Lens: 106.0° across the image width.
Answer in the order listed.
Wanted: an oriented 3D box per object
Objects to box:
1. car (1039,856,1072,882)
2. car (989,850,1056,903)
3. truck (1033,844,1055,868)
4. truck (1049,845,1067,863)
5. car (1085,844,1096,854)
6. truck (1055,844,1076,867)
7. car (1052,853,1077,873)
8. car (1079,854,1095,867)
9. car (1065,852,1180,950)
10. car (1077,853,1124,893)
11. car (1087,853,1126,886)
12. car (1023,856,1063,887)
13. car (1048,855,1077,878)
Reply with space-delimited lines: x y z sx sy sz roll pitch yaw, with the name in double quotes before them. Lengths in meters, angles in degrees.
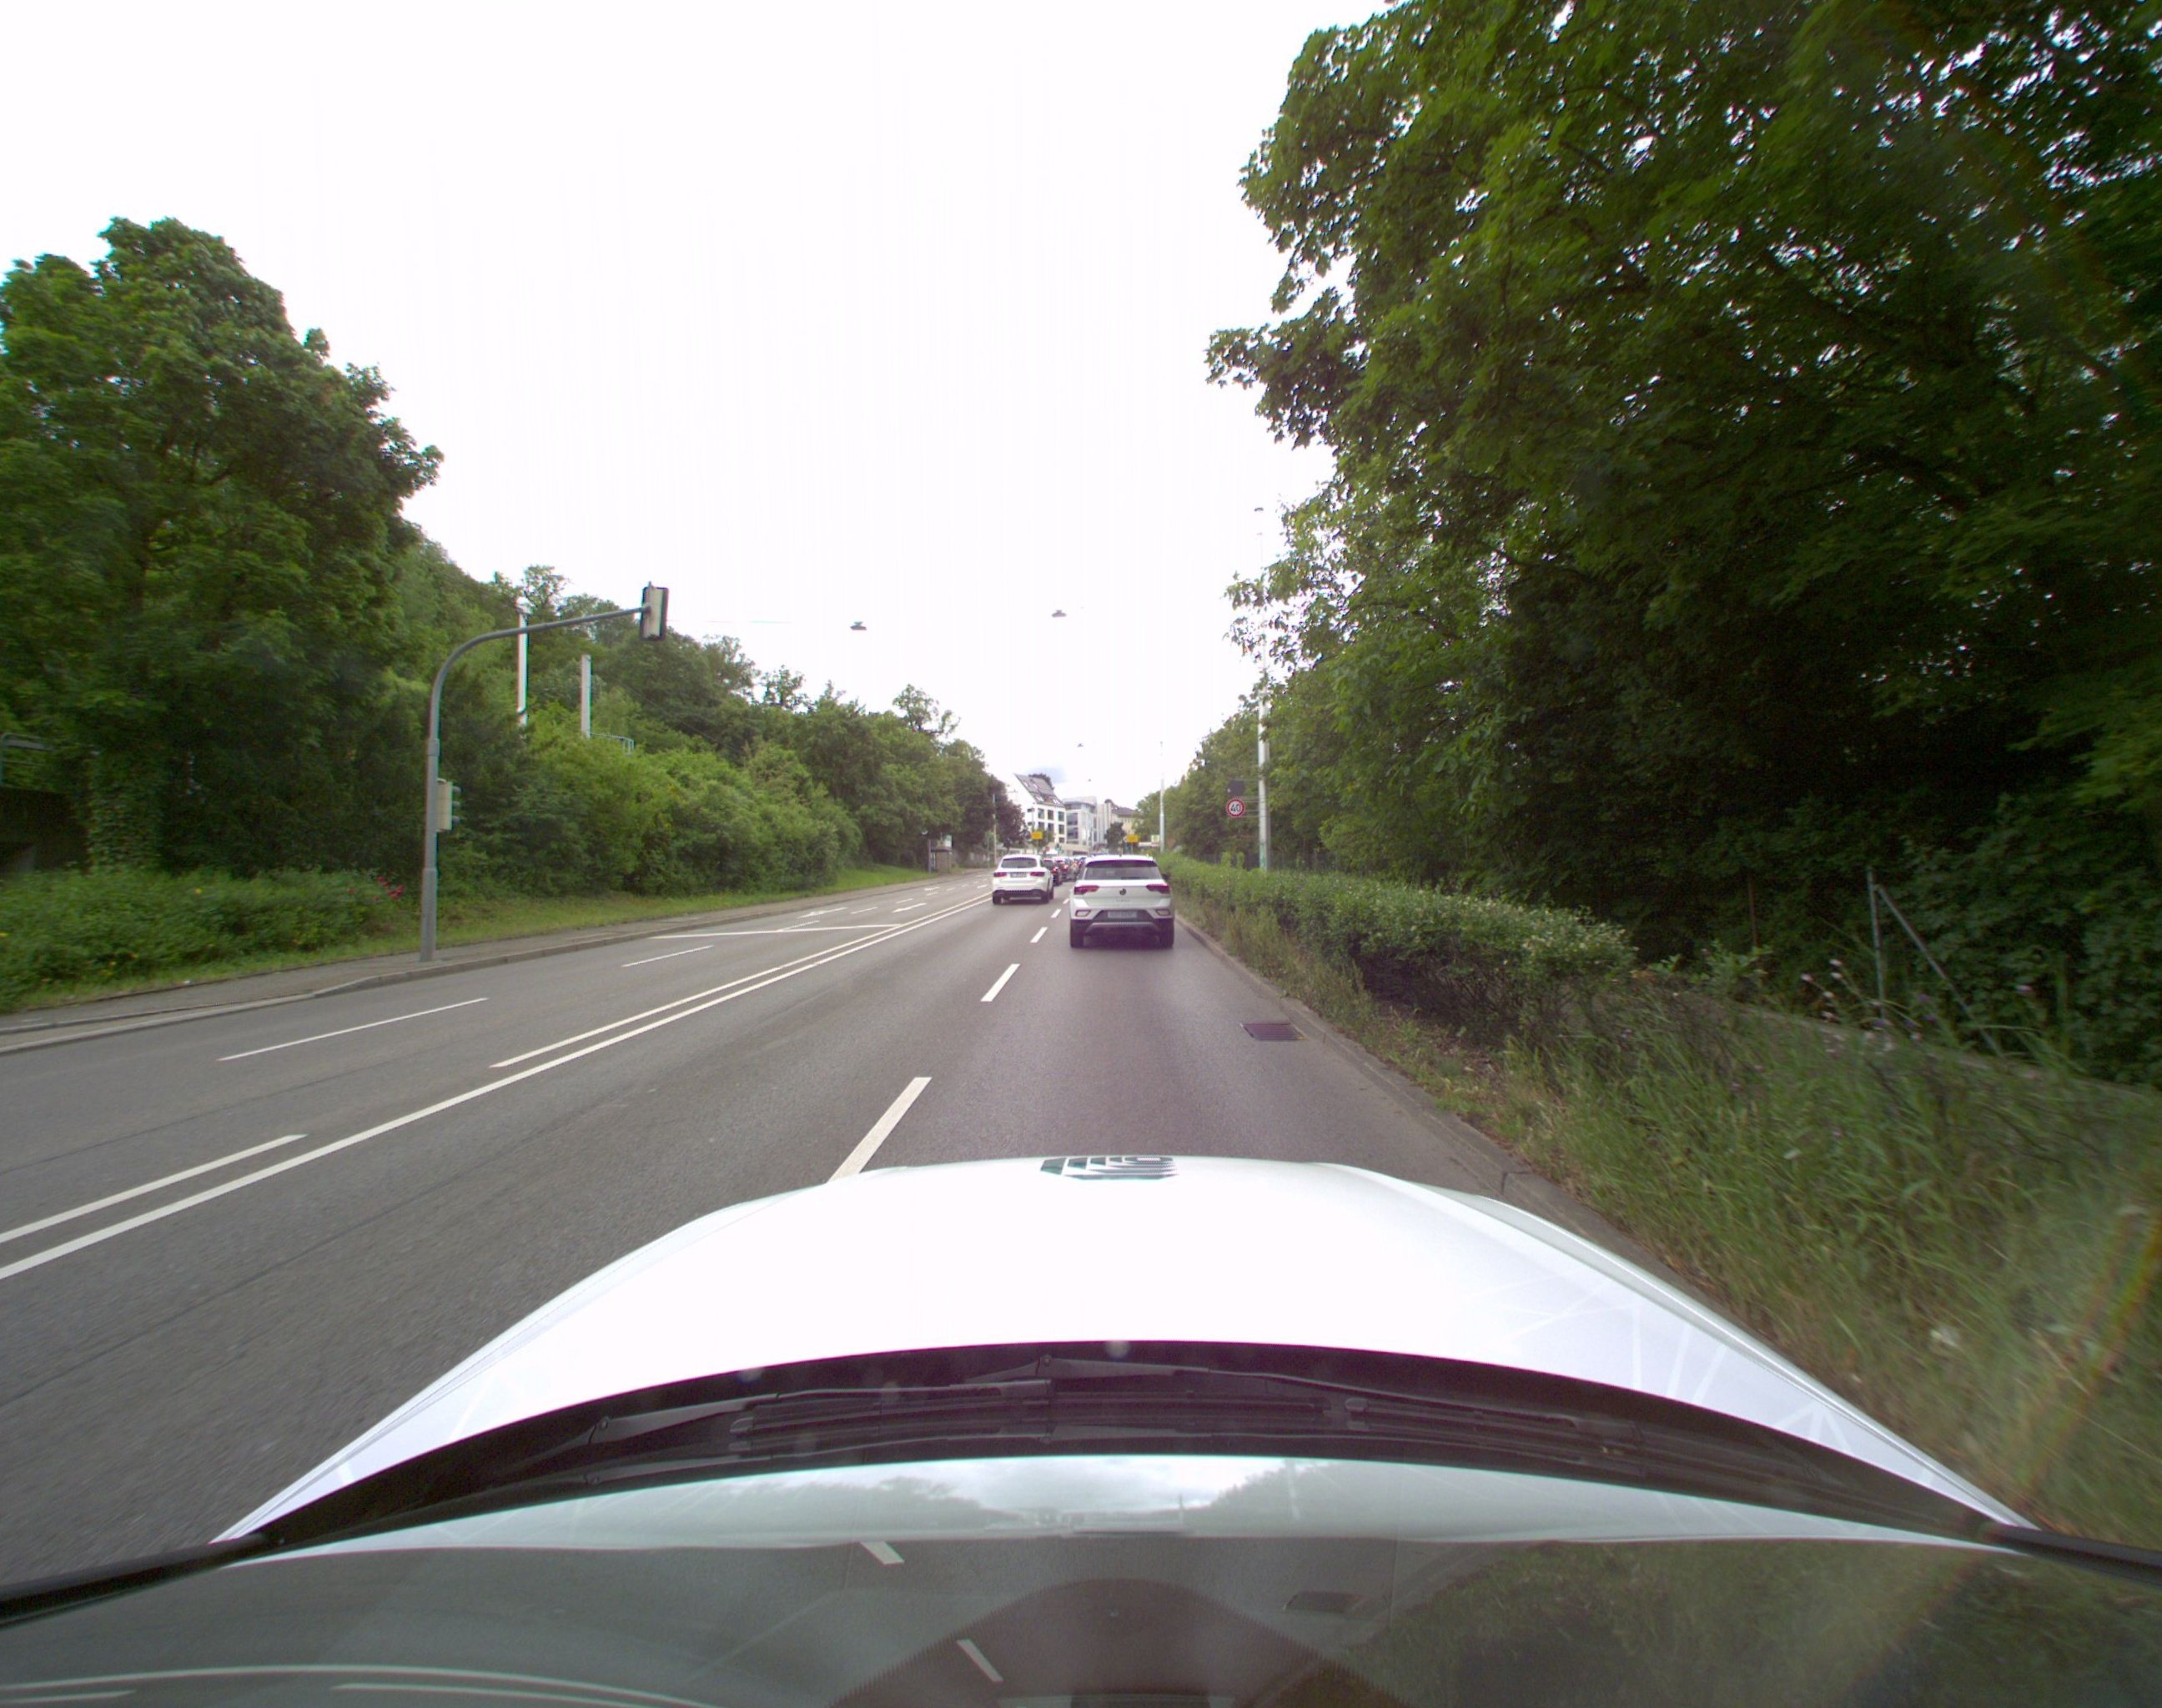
"car" -1.564 0.913 51.344 1.822 1.526 4.001 -2 0 1
"car" -1.938 0.732 28.039 1.911 1.669 4.001 -1 0 1
"truck" -4.558 0.241 100.770 2.354 2.706 4.479 -3 0 1
"truck" -4.168 -0.020 149.353 2.282 3.051 6.987 -3 -1 4
"car" 1.618 -0.853 136.899 1.822 1.526 4.001 -2 0 1
"truck" -1.951 0.178 105.333 2.354 2.782 4.479 -3 0 1
"car" -1.284 0.717 66.386 1.822 1.526 4.001 -2 0 1
"car" 0.744 0.815 102.304 1.822 1.526 4.001 -2 0 1
"car" 0.714 0.760 15.121 1.822 1.526 4.001 -2 0 1
"car" 0.830 0.761 34.459 1.822 1.526 4.001 -2 0 1
"car" 1.289 0.772 41.458 1.822 1.526 4.001 -2 0 1
"car" -1.998 0.908 43.868 1.822 1.497 4.001 -2 0 1
"car" -1.307 0.876 58.695 1.822 1.526 4.001 -2 0 1
